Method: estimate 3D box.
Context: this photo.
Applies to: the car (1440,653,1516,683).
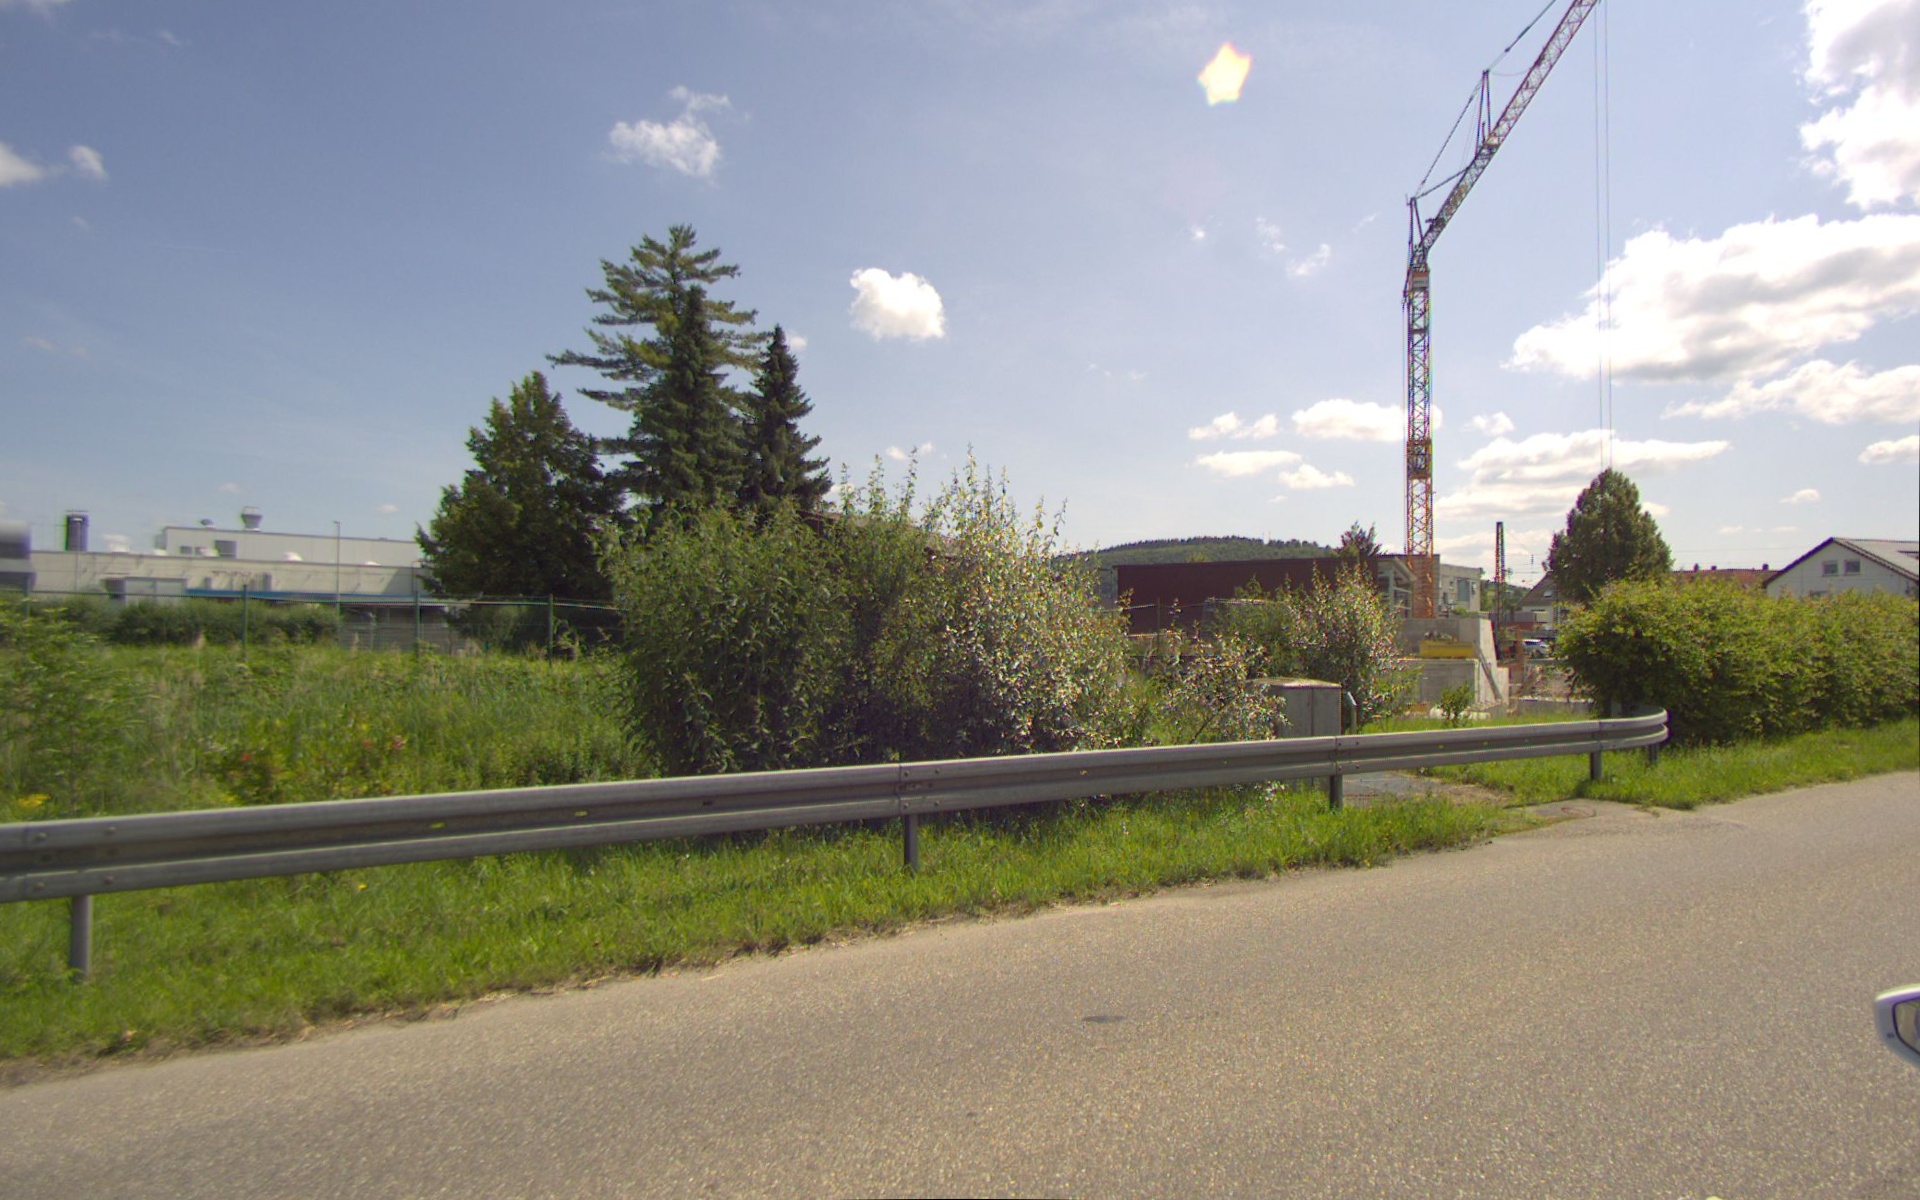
[{"bbox_3d":[28.505,3.725,55.332,3.661,1.505,1.858,-1,-2,28],"label":"car"}]
